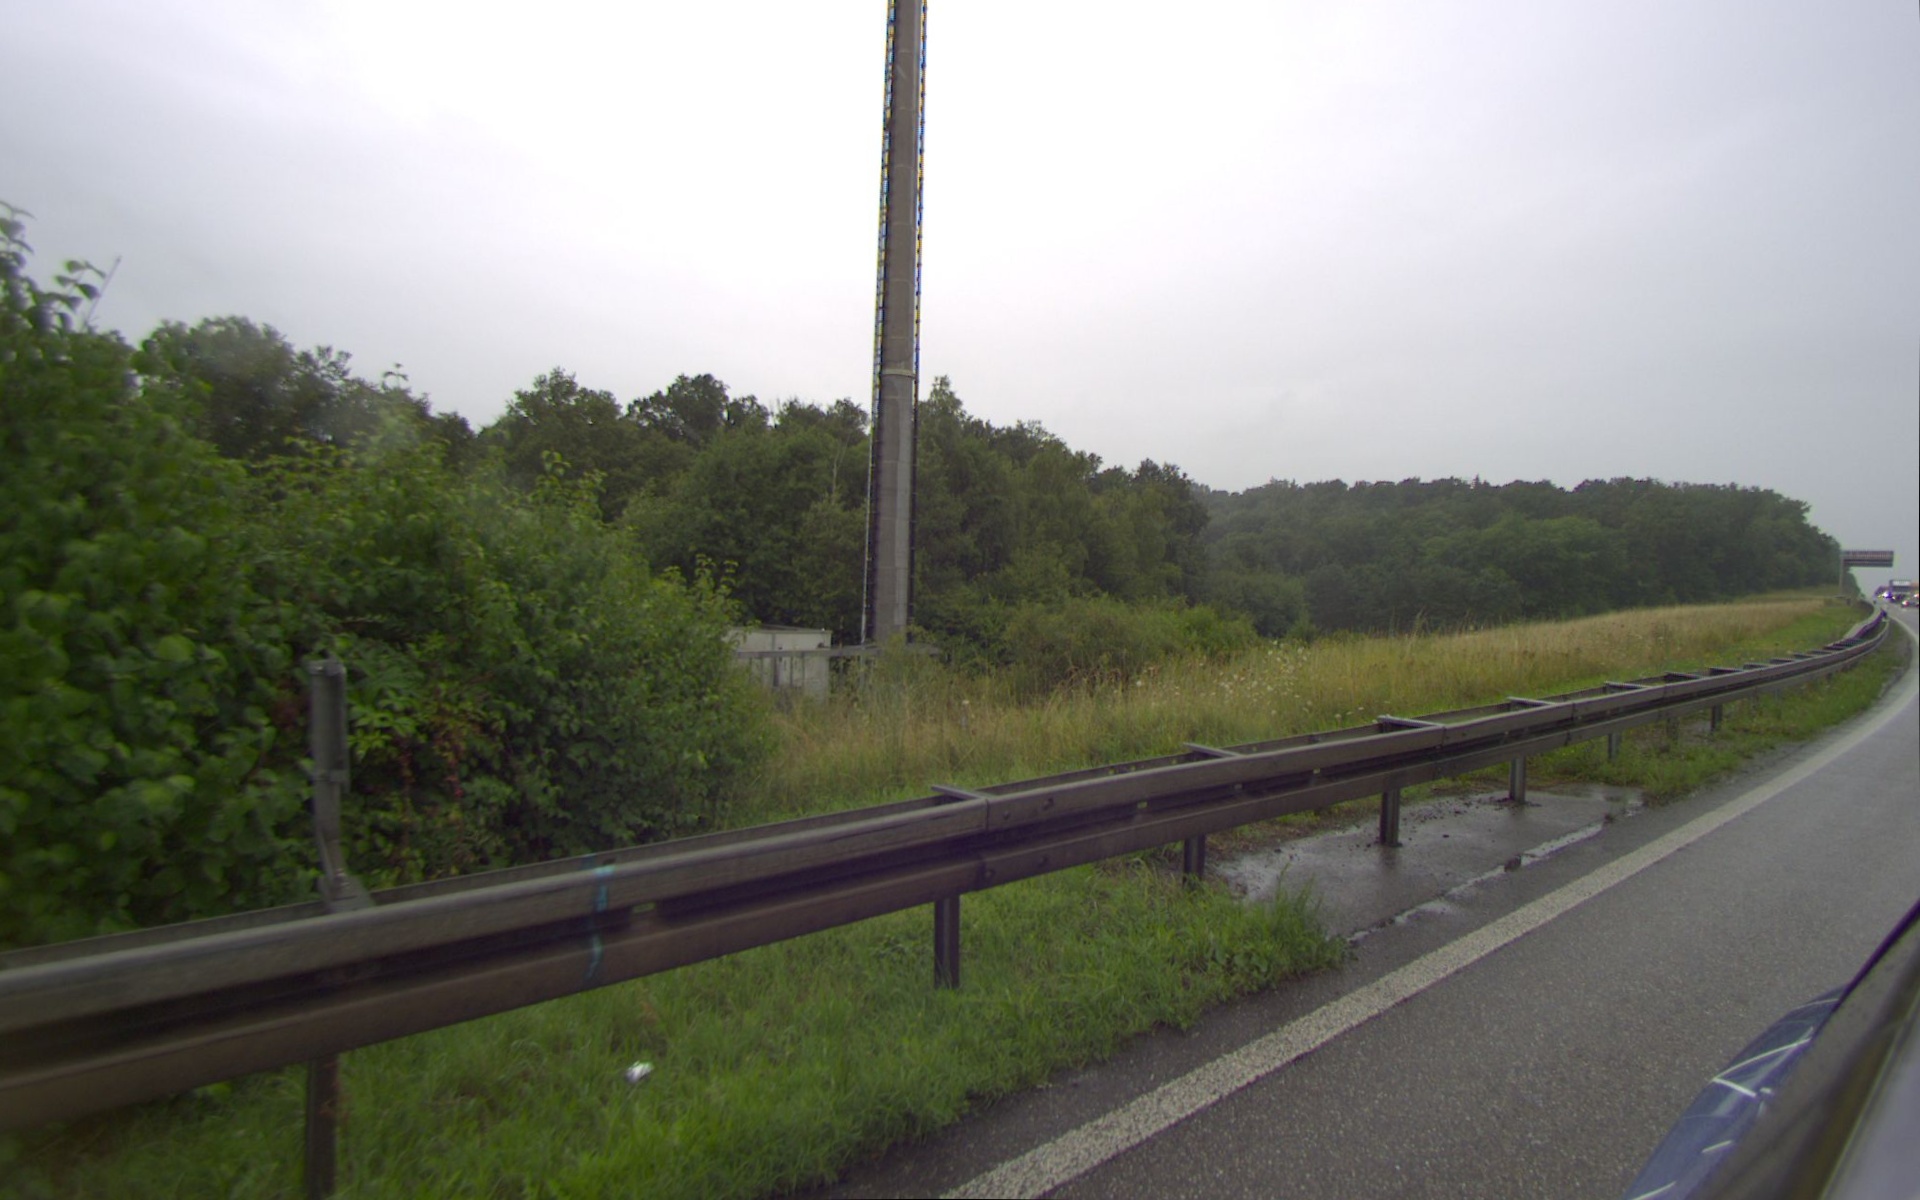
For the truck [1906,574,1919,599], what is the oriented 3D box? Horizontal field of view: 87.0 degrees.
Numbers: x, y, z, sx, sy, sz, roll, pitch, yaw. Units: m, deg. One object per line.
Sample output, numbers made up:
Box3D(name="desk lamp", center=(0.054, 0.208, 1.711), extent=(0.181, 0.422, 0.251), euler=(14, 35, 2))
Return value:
Box3D(name="truck", center=(166.730, -2.331, 176.229), extent=(5.143, 4.197, 2.592), euler=(1, -1, -44))
